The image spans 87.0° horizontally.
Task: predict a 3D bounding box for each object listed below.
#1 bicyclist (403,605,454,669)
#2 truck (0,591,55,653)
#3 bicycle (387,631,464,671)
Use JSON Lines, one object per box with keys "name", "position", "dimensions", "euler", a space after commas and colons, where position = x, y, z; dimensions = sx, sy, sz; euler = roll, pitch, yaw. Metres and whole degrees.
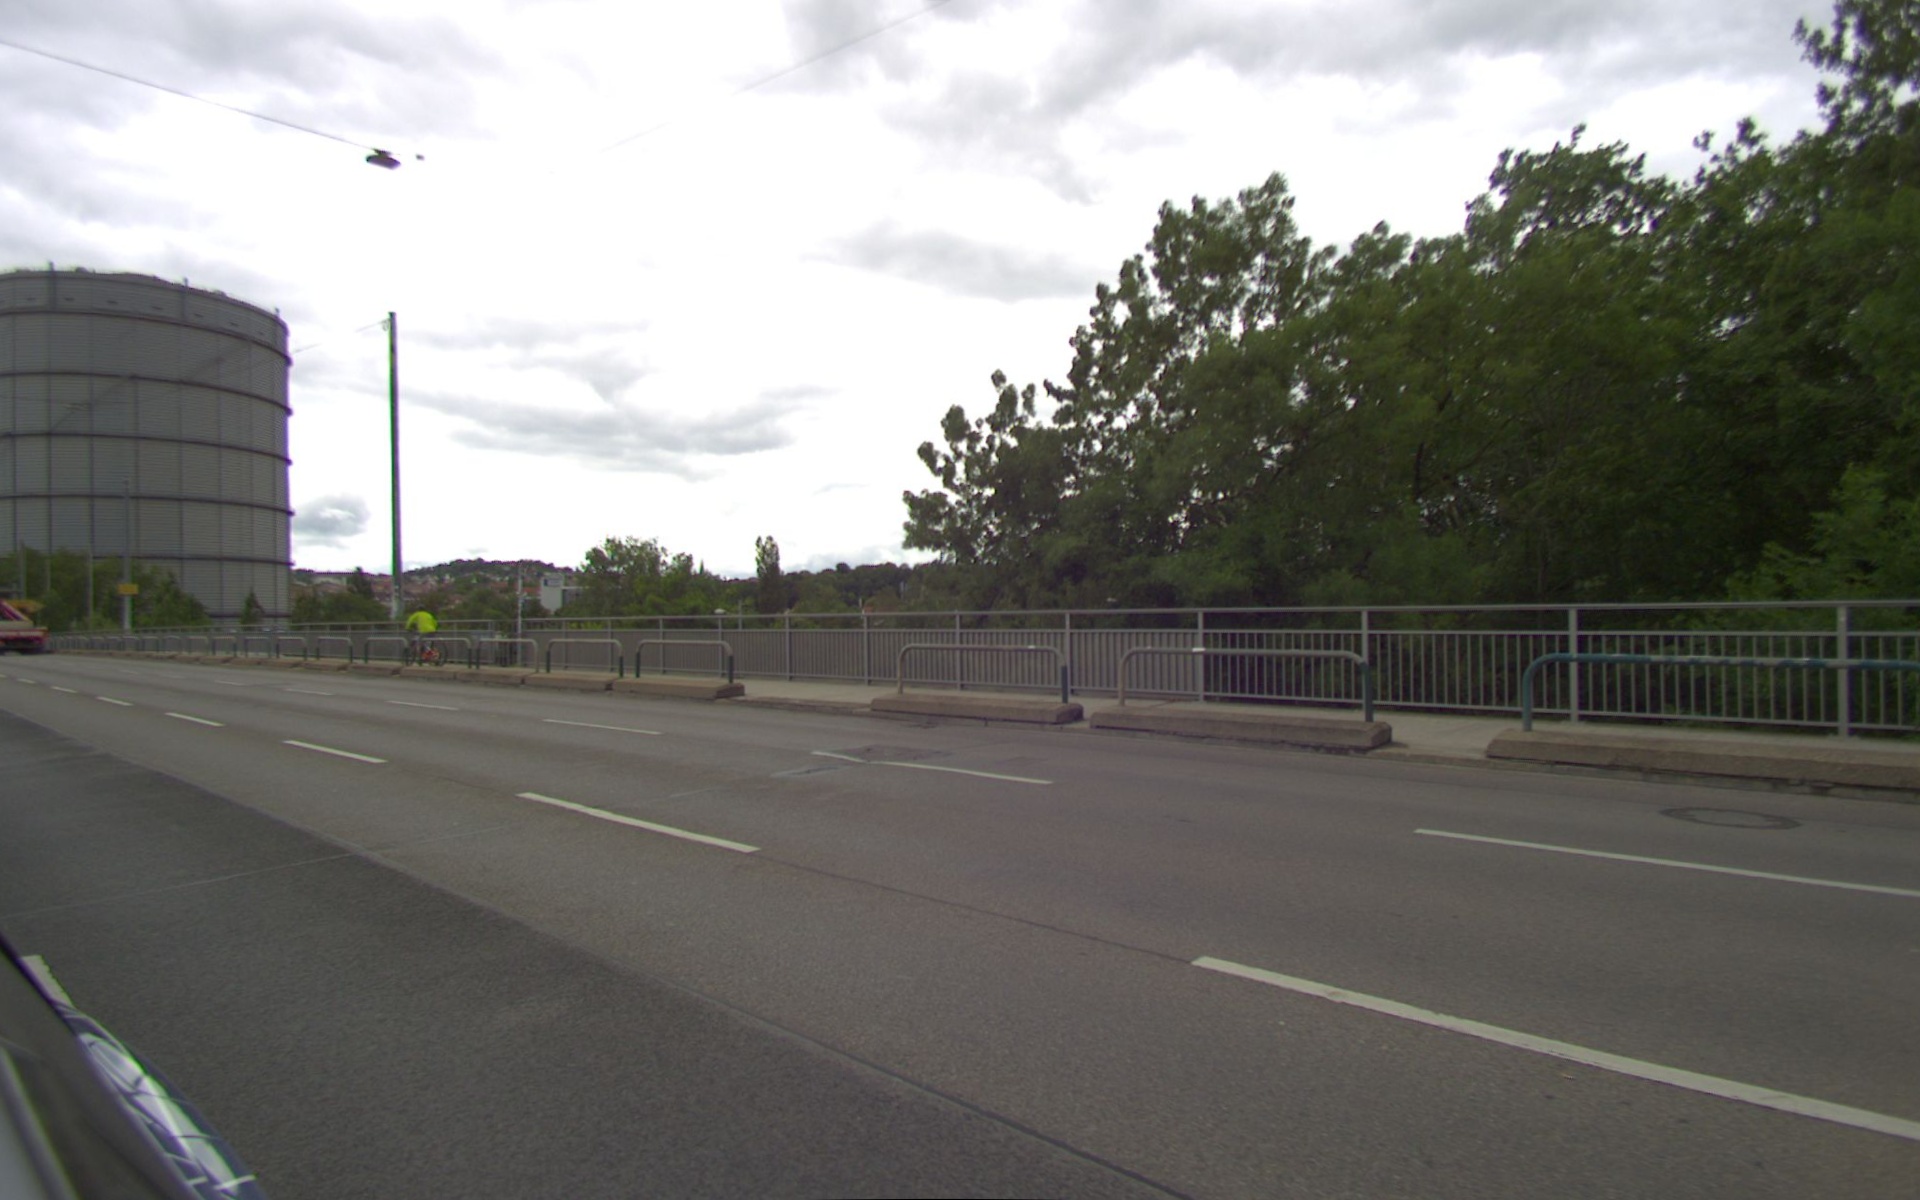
{"name": "bicyclist", "position": [-15.089, 1.043, 28.741], "dimensions": [1.135, 1.778, 0.894], "euler": [-2, -1, 39]}
{"name": "truck", "position": [-60.091, 1.493, 63.988], "dimensions": [9.975, 3.593, 2.975], "euler": [-3, -3, 41]}
{"name": "bicycle", "position": [-15.255, 1.442, 28.843], "dimensions": [2.797, 1.059, 0.909], "euler": [-2, -1, 39]}
